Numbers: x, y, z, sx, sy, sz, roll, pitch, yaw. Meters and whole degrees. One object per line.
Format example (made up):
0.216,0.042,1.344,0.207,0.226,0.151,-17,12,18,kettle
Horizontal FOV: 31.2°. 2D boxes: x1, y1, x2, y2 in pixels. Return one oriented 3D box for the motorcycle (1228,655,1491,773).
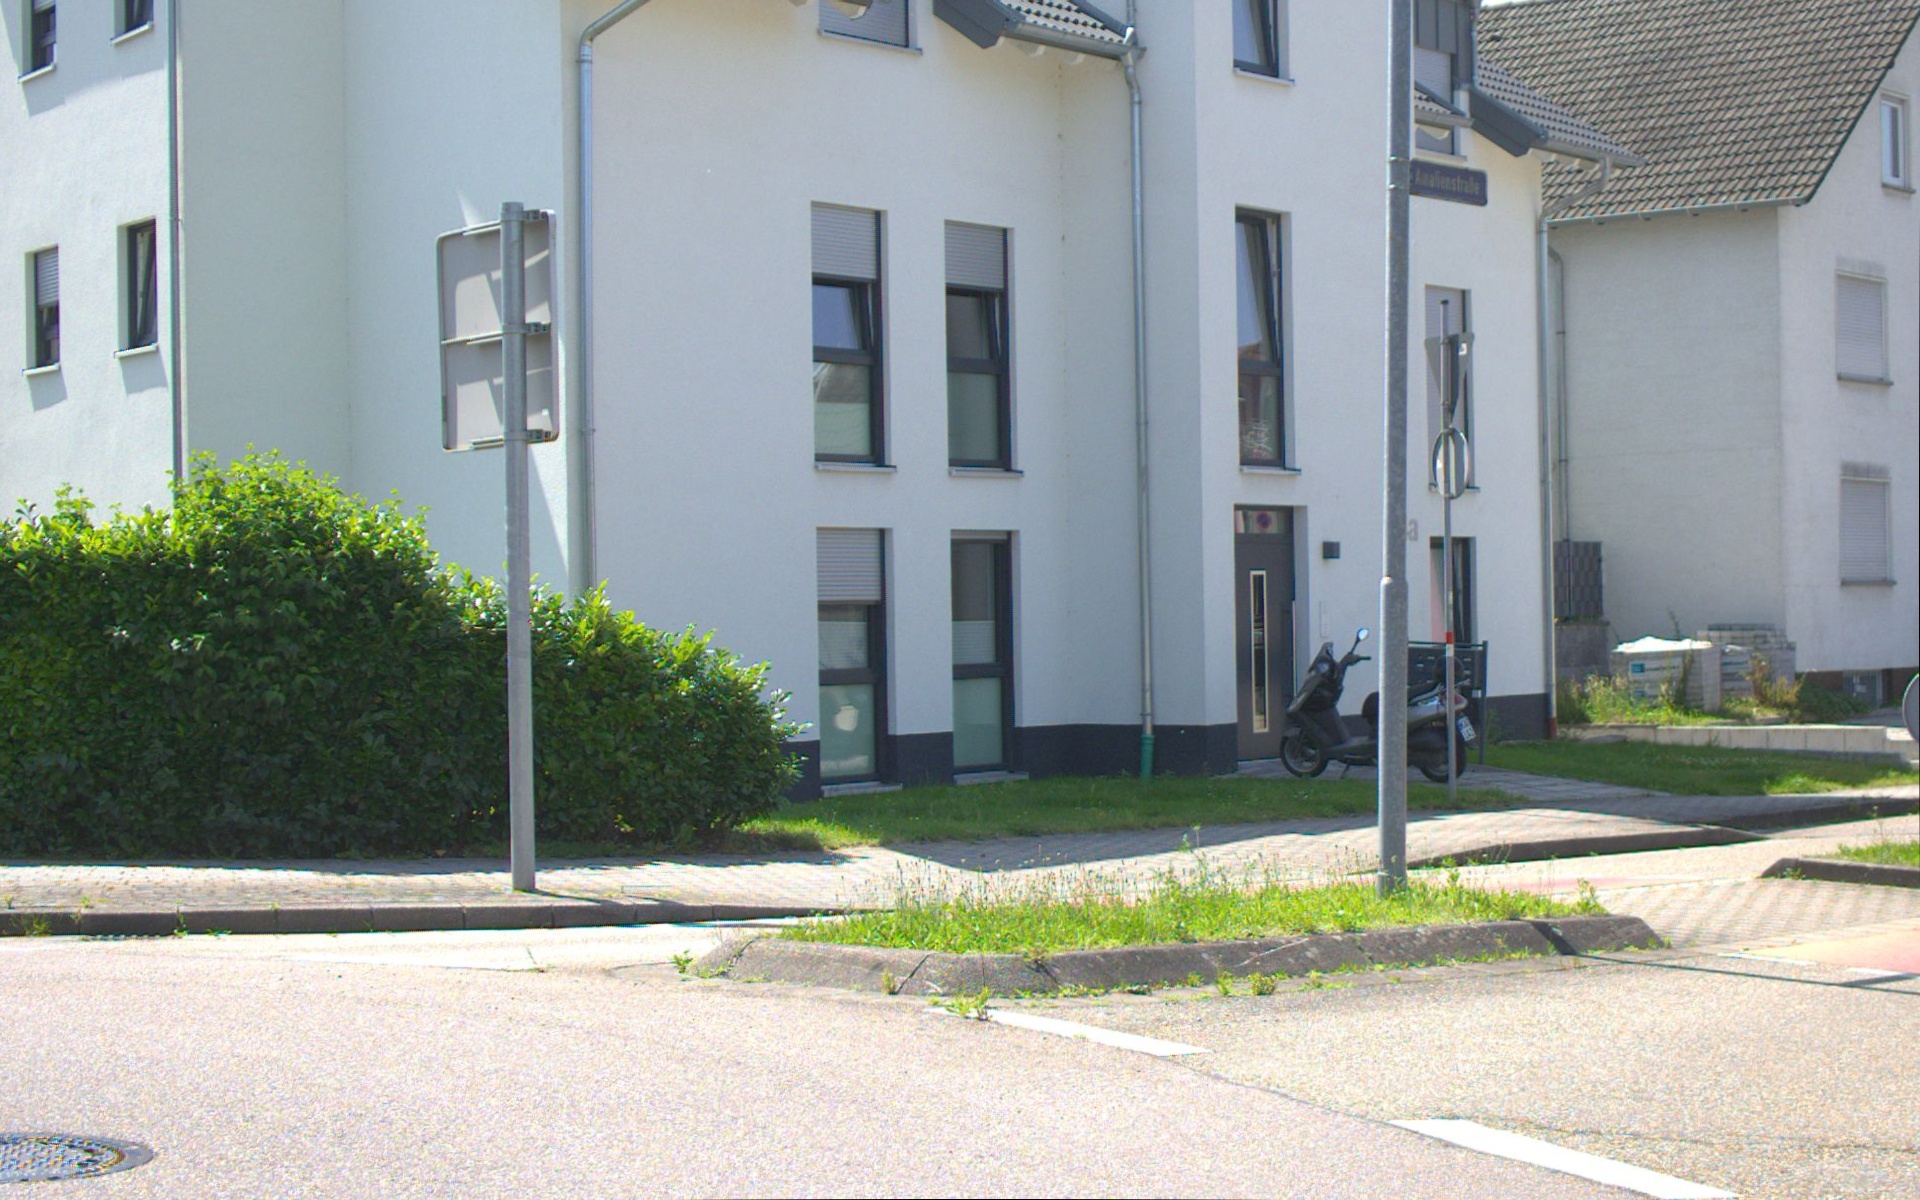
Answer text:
3.589,1.018,31.052,2.366,1.010,0.670,0,-2,40,motorcycle
